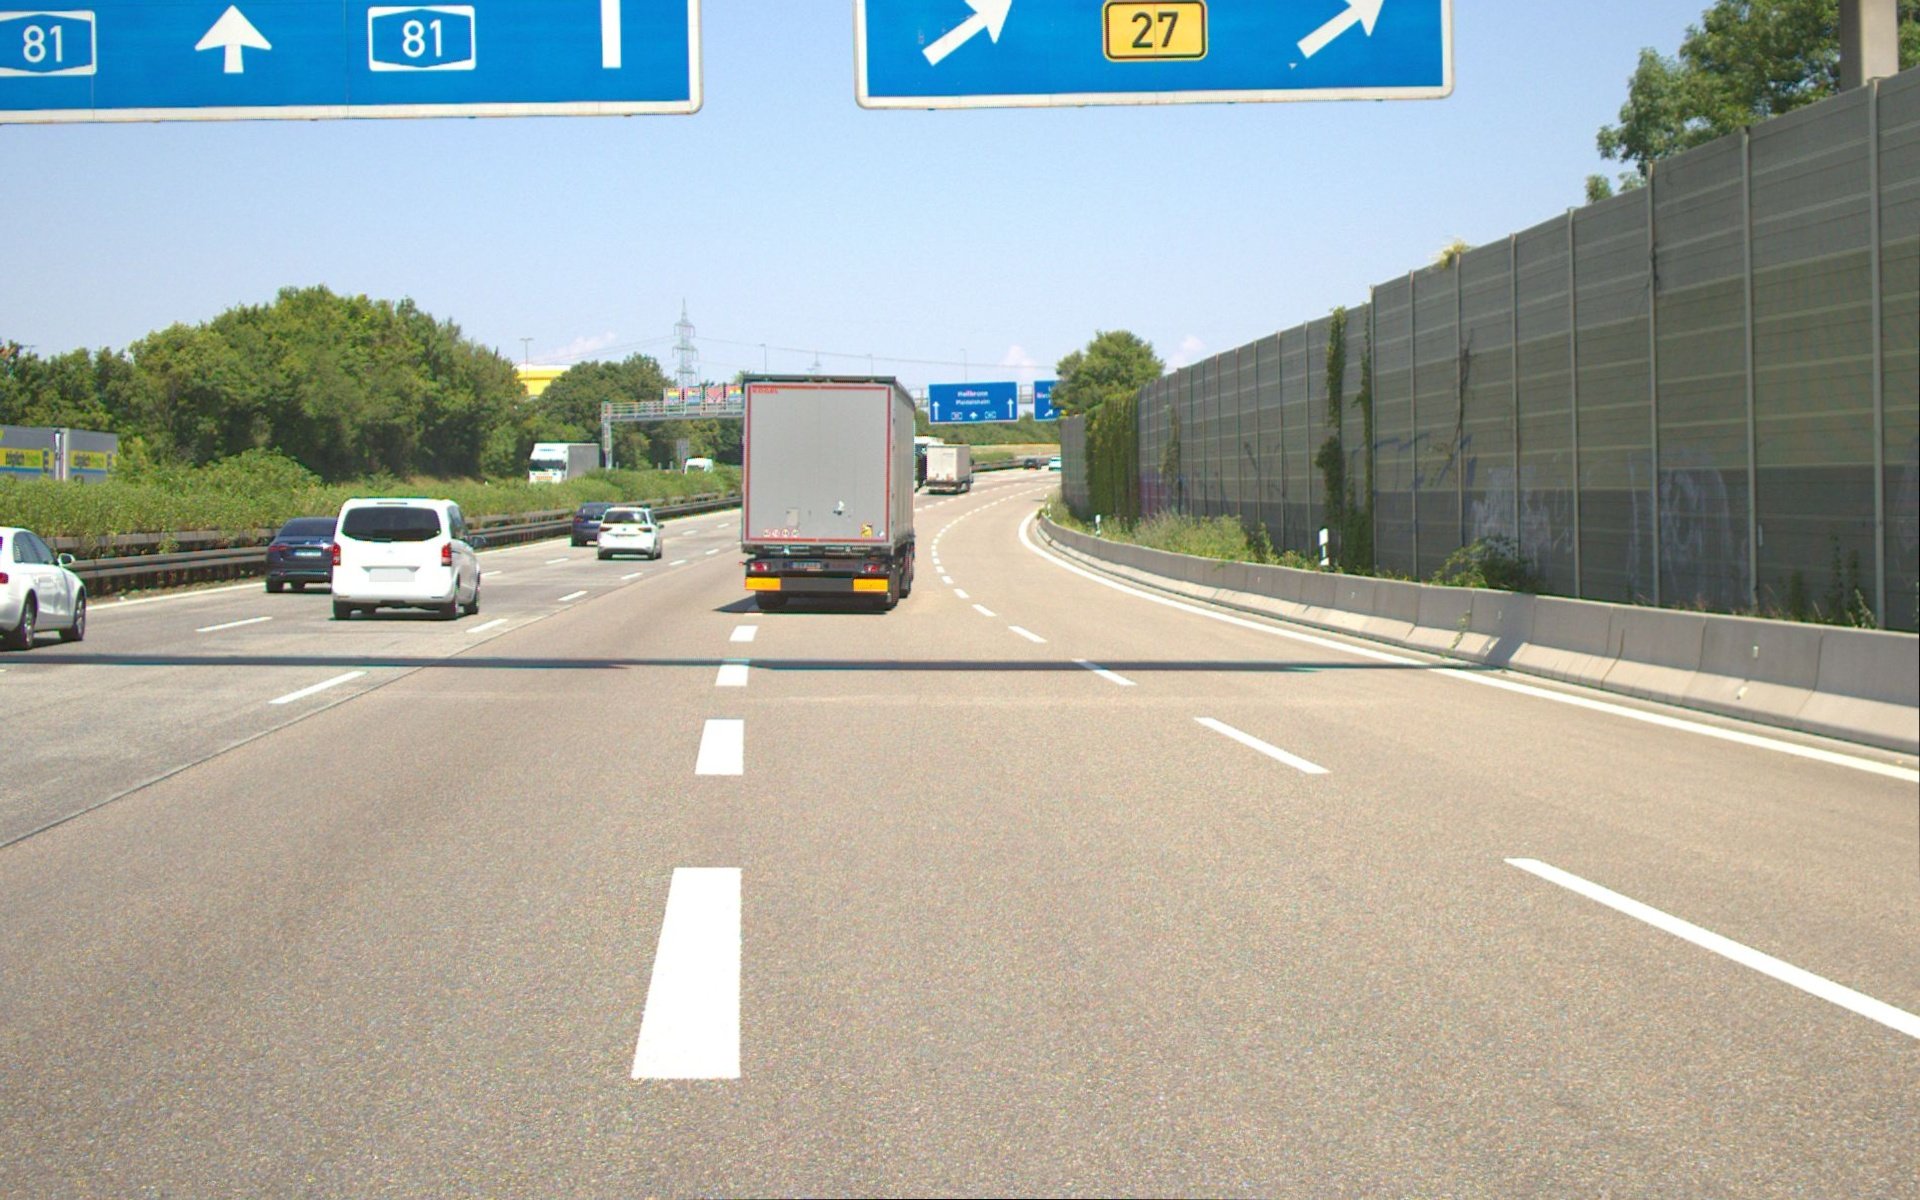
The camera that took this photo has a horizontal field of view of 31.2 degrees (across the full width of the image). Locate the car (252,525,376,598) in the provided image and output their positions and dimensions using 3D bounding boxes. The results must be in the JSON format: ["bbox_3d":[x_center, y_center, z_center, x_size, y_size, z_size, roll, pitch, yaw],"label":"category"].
[{"bbox_3d":[-12.904,-0.770,68.884,1.756,1.404,5.040,0,1,-3],"label":"car"}]

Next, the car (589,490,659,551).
[{"bbox_3d":[-10.492,-2.505,107.704,1.904,1.845,4.632,0,2,-2],"label":"car"}]

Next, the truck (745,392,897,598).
[{"bbox_3d":[-2.854,-2.078,70.533,2.927,4.002,7.584,0,1,-2],"label":"truck"}]

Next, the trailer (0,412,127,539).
[{"bbox_3d":[-29.592,-4.047,112.558,2.922,3.953,8.660,1,1,-3],"label":"trailer"}]

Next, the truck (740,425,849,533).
[{"bbox_3d":[-6.853,-5.173,144.661,3.747,4.255,14.497,1,3,0],"label":"truck"}]

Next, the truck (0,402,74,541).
[{"bbox_3d":[-29.153,-3.823,103.067,3.001,3.953,10.323,1,1,-3],"label":"truck"}]

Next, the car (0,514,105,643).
[{"bbox_3d":[-11.648,-0.309,41.069,1.876,1.435,5.127,1,1,-3],"label":"car"}]

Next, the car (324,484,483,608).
[{"bbox_3d":[-8.688,-0.837,54.005,1.930,1.845,4.693,0,1,-2],"label":"car"}]

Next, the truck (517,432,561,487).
[{"bbox_3d":[-30.810,-10.279,251.656,2.538,3.933,5.167,1,2,0],"label":"truck"}]

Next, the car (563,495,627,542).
[{"bbox_3d":[-13.674,-3.074,128.875,1.904,1.683,4.632,0,2,0],"label":"car"}]

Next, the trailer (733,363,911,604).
[{"bbox_3d":[-2.542,-2.015,63.172,2.927,4.002,12.039,0,1,-2],"label":"trailer"}]
